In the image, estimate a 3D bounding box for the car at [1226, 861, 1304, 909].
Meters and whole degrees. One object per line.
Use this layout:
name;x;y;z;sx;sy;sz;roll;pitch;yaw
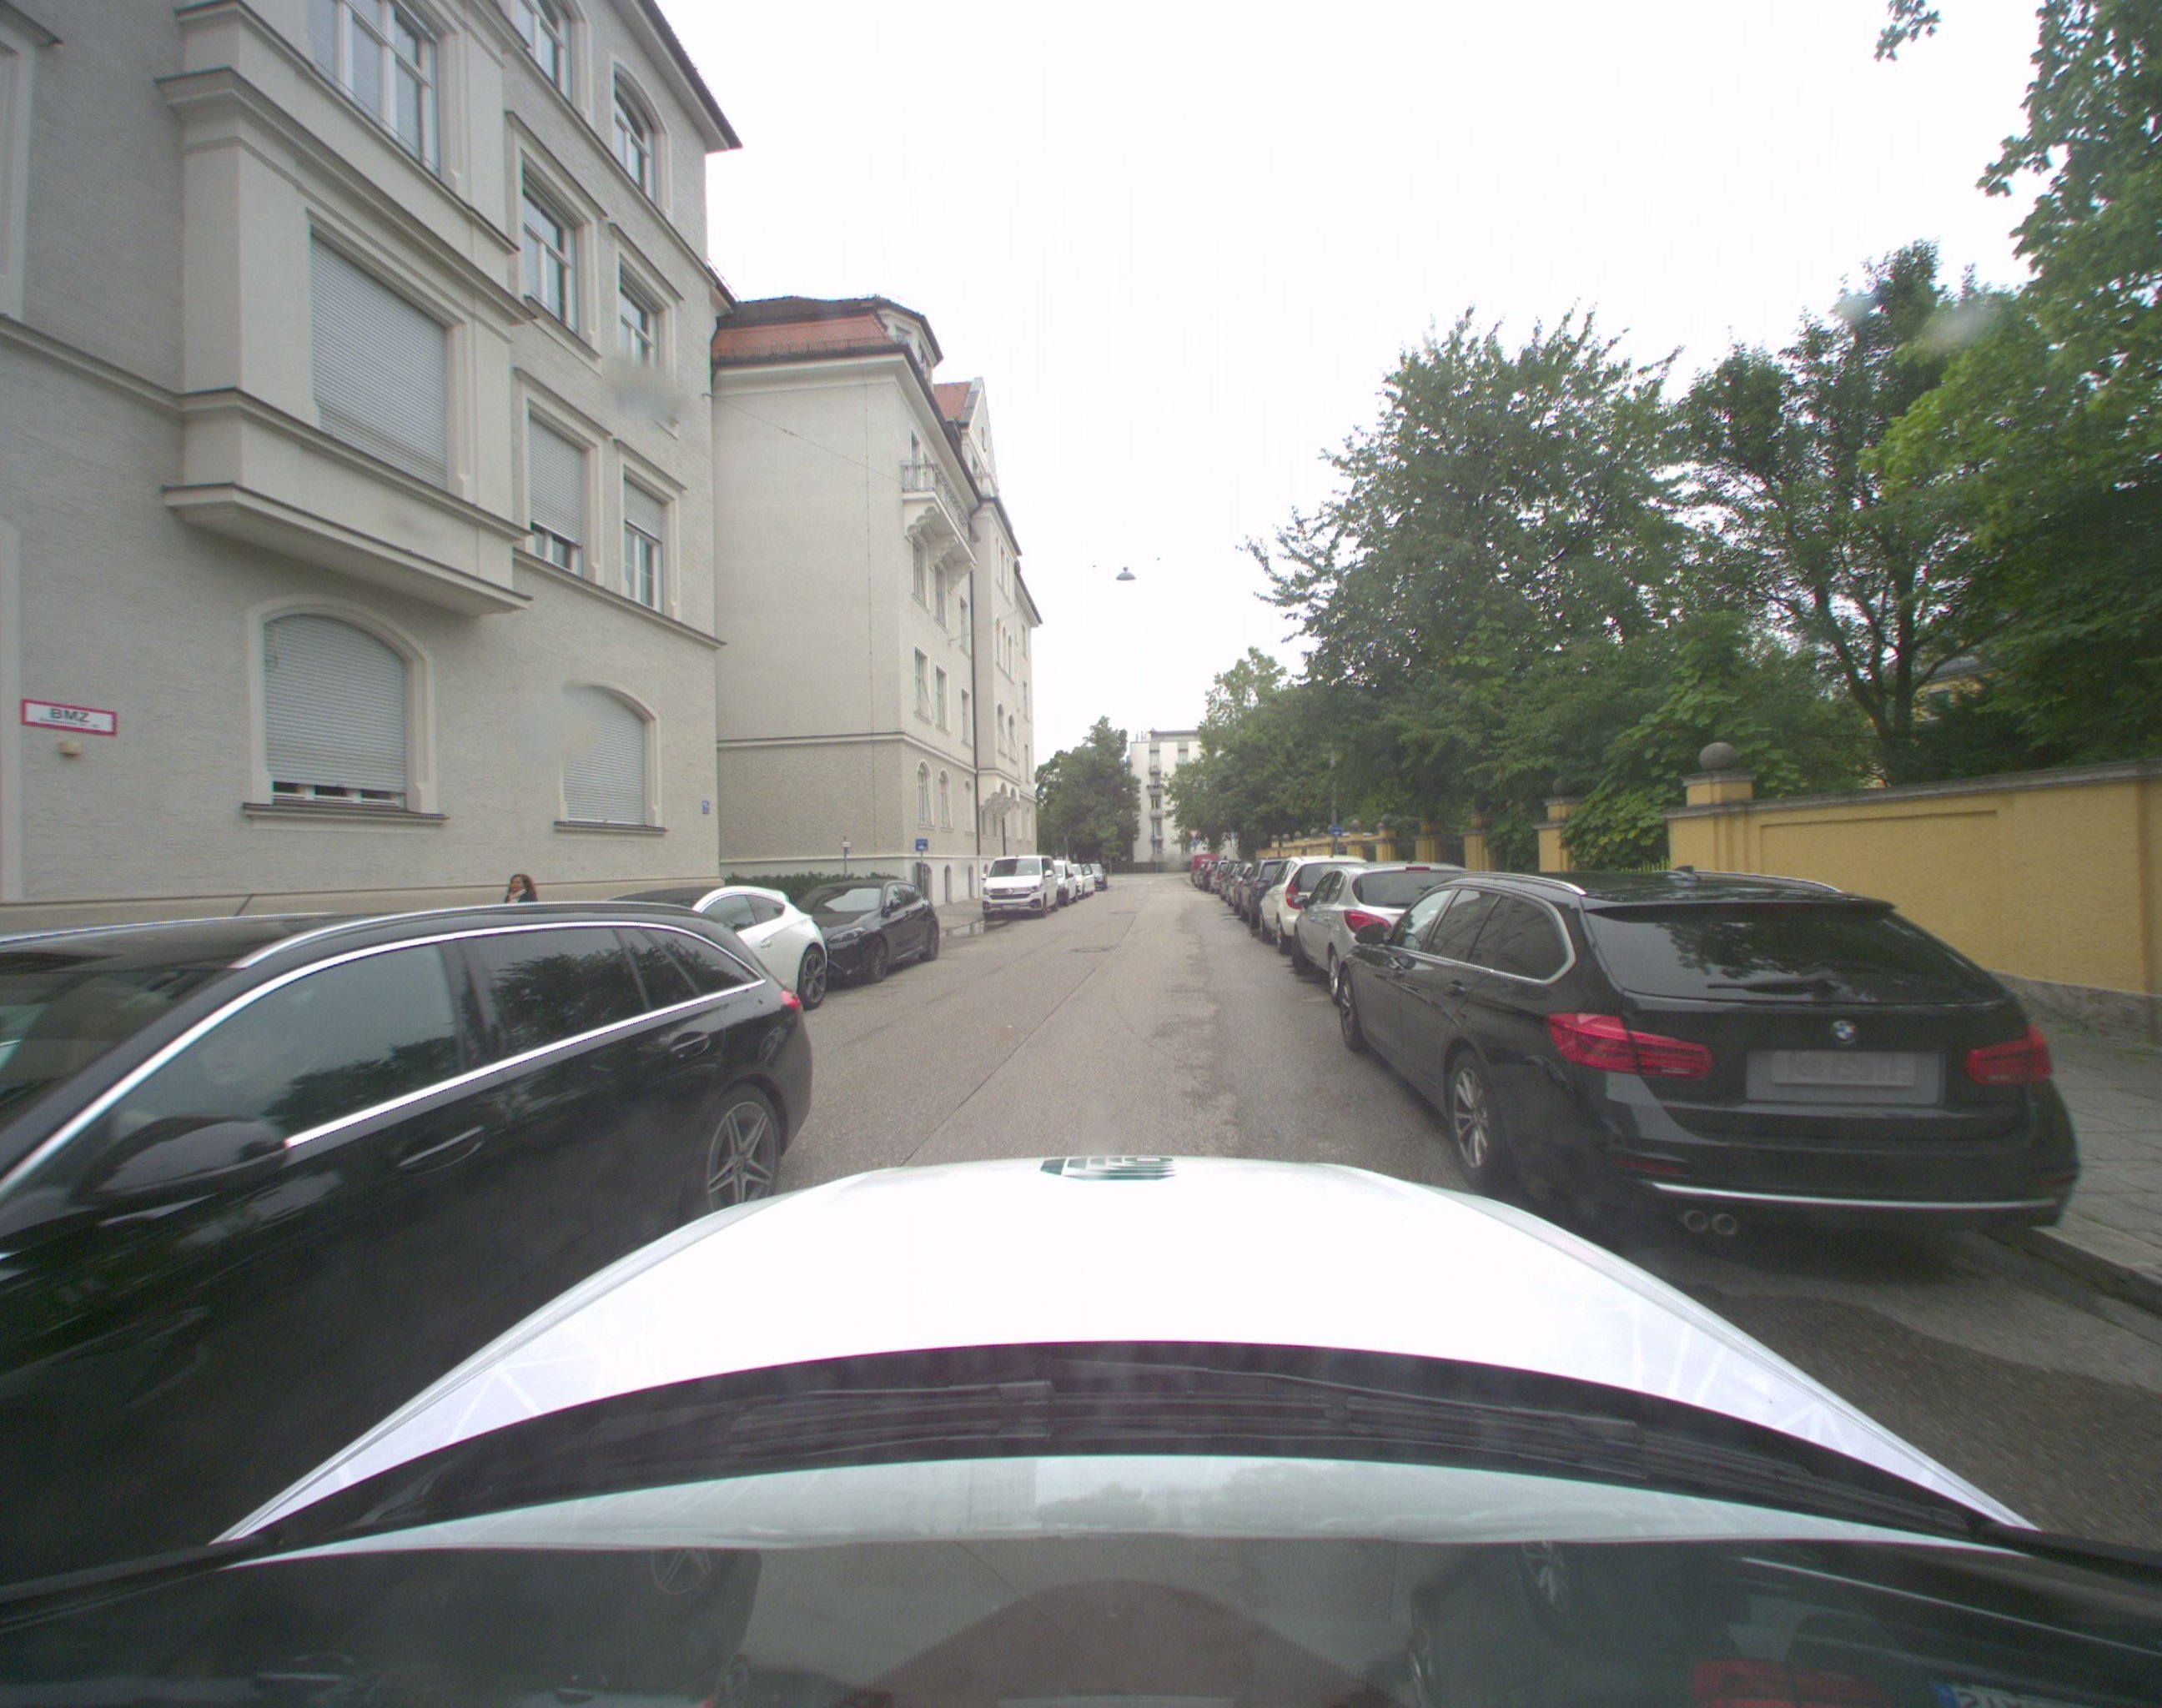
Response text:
car;5.579;0.913;25.146;1.830;1.346;3.953;0;-1;5

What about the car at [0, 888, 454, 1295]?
car;-5.013;0.969;3.150;1.715;1.500;3.940;-3;-1;9

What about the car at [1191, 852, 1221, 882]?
car;8.463;0.862;55.020;1.825;1.927;4.016;1;0;11

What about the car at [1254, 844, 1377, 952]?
car;4.027;0.714;14.477;1.506;1.661;3.680;0;-1;6

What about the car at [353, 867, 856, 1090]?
car;-4.031;0.940;7.932;1.825;1.438;4.285;-4;-1;9

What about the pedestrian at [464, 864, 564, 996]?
pedestrian;-7.515;0.984;10.813;0.788;1.679;0.701;-2;-1;7

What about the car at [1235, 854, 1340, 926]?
car;4.789;0.803;19.394;1.830;1.551;3.953;0;-1;5

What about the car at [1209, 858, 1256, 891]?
car;7.173;0.952;38.856;1.830;1.519;3.953;0;-1;5

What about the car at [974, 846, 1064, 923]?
car;-1.868;0.910;26.299;1.876;2.128;4.715;-4;-1;7

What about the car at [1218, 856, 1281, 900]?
car;6.139;0.862;30.042;1.830;1.519;3.953;0;-1;5

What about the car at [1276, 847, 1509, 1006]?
car;3.455;0.728;9.769;1.644;1.519;3.800;0;-1;5

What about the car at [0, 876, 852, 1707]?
car;-2.407;0.866;2.142;1.864;1.428;4.417;-3;0;7

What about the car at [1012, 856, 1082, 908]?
car;-1.274;1.053;32.513;2.004;1.771;4.422;-4;-1;7

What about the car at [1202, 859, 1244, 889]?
car;7.461;1.051;43.049;1.830;1.519;3.953;0;-1;5

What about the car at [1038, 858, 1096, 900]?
car;-0.585;1.126;38.290;2.004;1.726;4.282;-4;-1;7

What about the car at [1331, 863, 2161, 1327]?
car;2.738;0.772;4.771;1.828;1.413;4.353;0;-1;9

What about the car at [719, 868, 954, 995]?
car;-3.546;1.056;12.774;1.826;1.499;4.283;-4;-1;7

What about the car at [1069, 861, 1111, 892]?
car;0.616;1.325;49.985;2.004;1.634;4.422;-4;-1;7
